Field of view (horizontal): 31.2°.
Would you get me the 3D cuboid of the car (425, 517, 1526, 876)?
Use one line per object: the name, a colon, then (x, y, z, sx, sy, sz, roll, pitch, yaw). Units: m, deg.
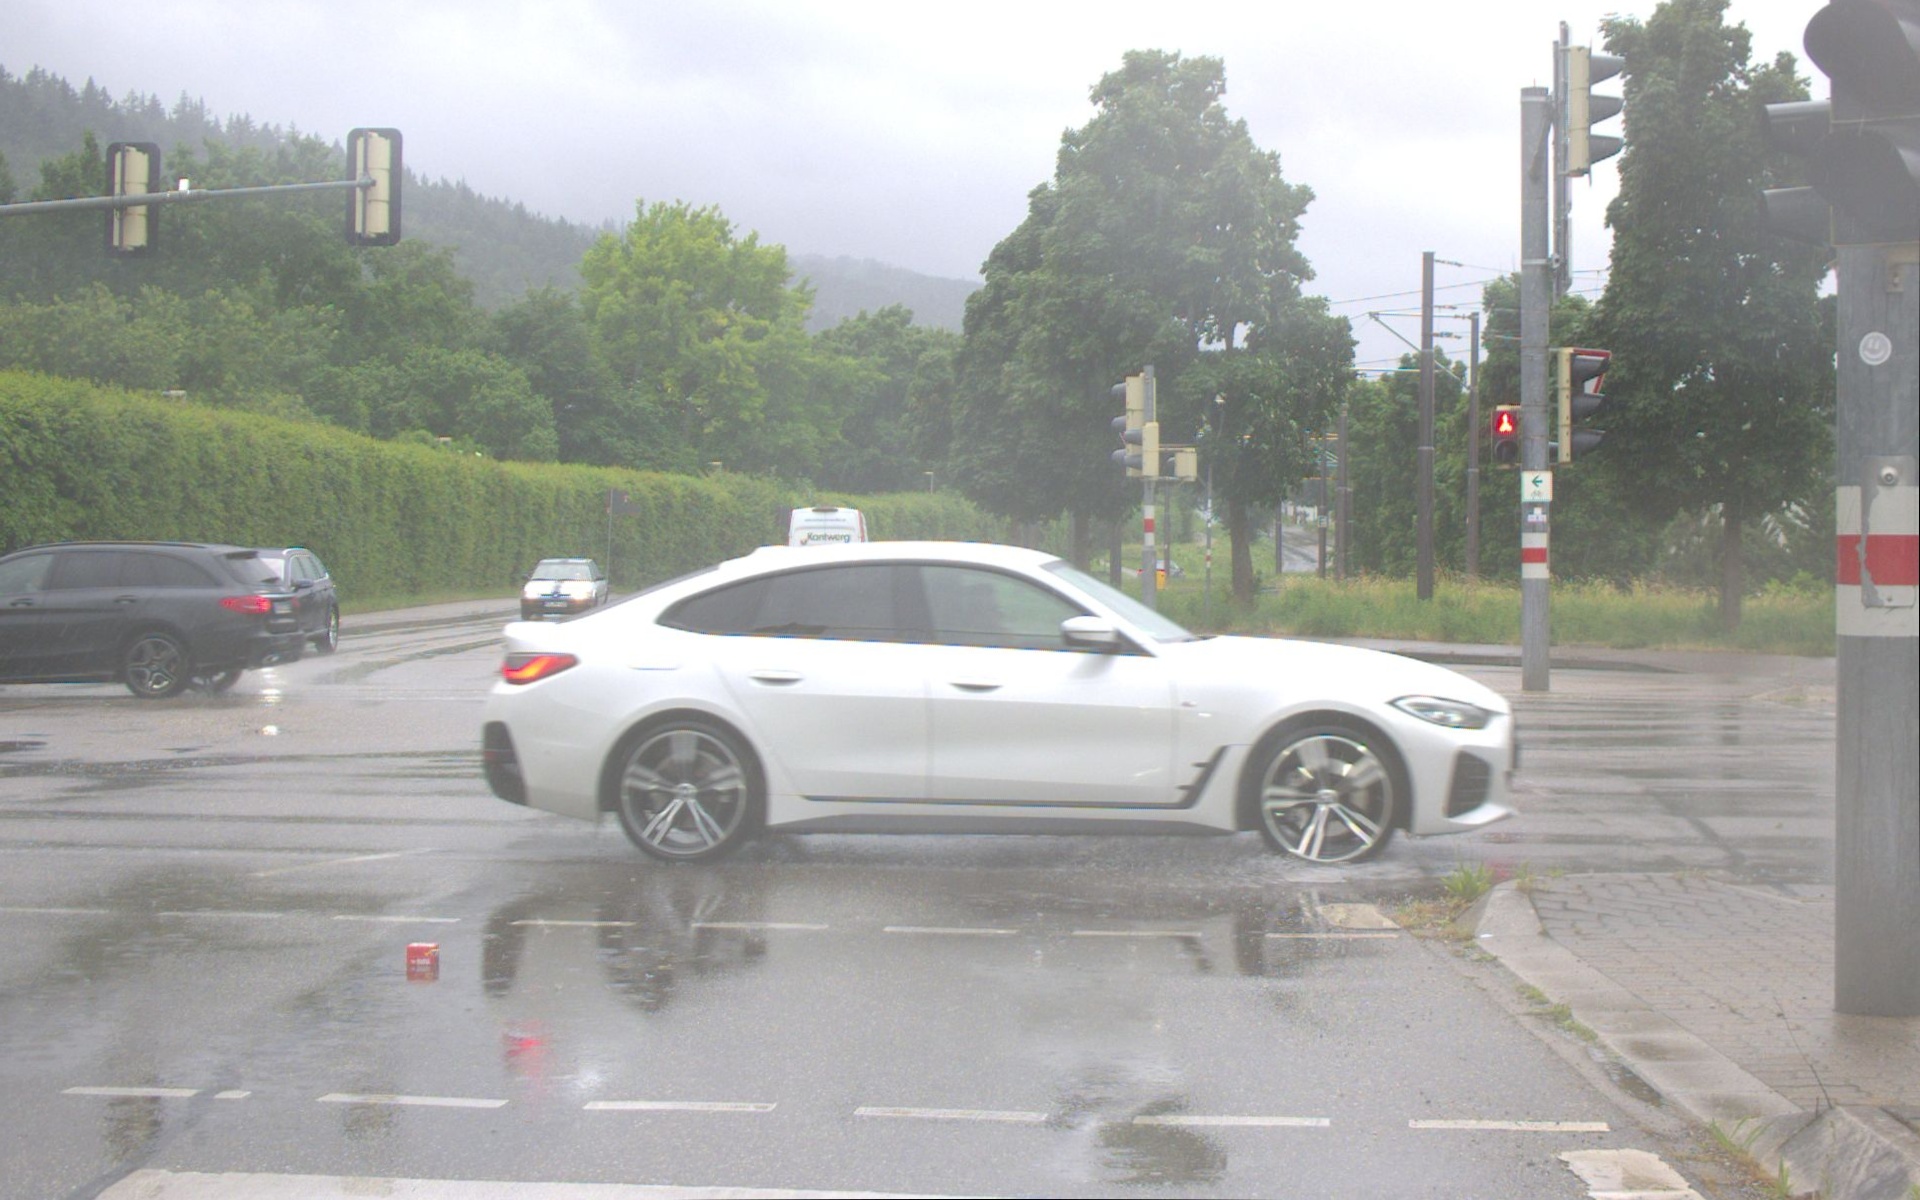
car: (0.135, 0.388, 16.020, 4.883, 1.548, 1.799, 0, 1, 8)

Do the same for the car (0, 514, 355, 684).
car: (-8.206, -0.033, 32.327, 4.670, 1.548, 1.822, 0, 1, 2)

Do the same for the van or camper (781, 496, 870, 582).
van or camper: (-3.468, -1.615, 89.575, 2.153, 2.161, 4.865, 1, 1, 0)

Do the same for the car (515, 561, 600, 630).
car: (-9.140, -0.129, 78.260, 1.558, 1.476, 3.361, 1, 1, 0)
